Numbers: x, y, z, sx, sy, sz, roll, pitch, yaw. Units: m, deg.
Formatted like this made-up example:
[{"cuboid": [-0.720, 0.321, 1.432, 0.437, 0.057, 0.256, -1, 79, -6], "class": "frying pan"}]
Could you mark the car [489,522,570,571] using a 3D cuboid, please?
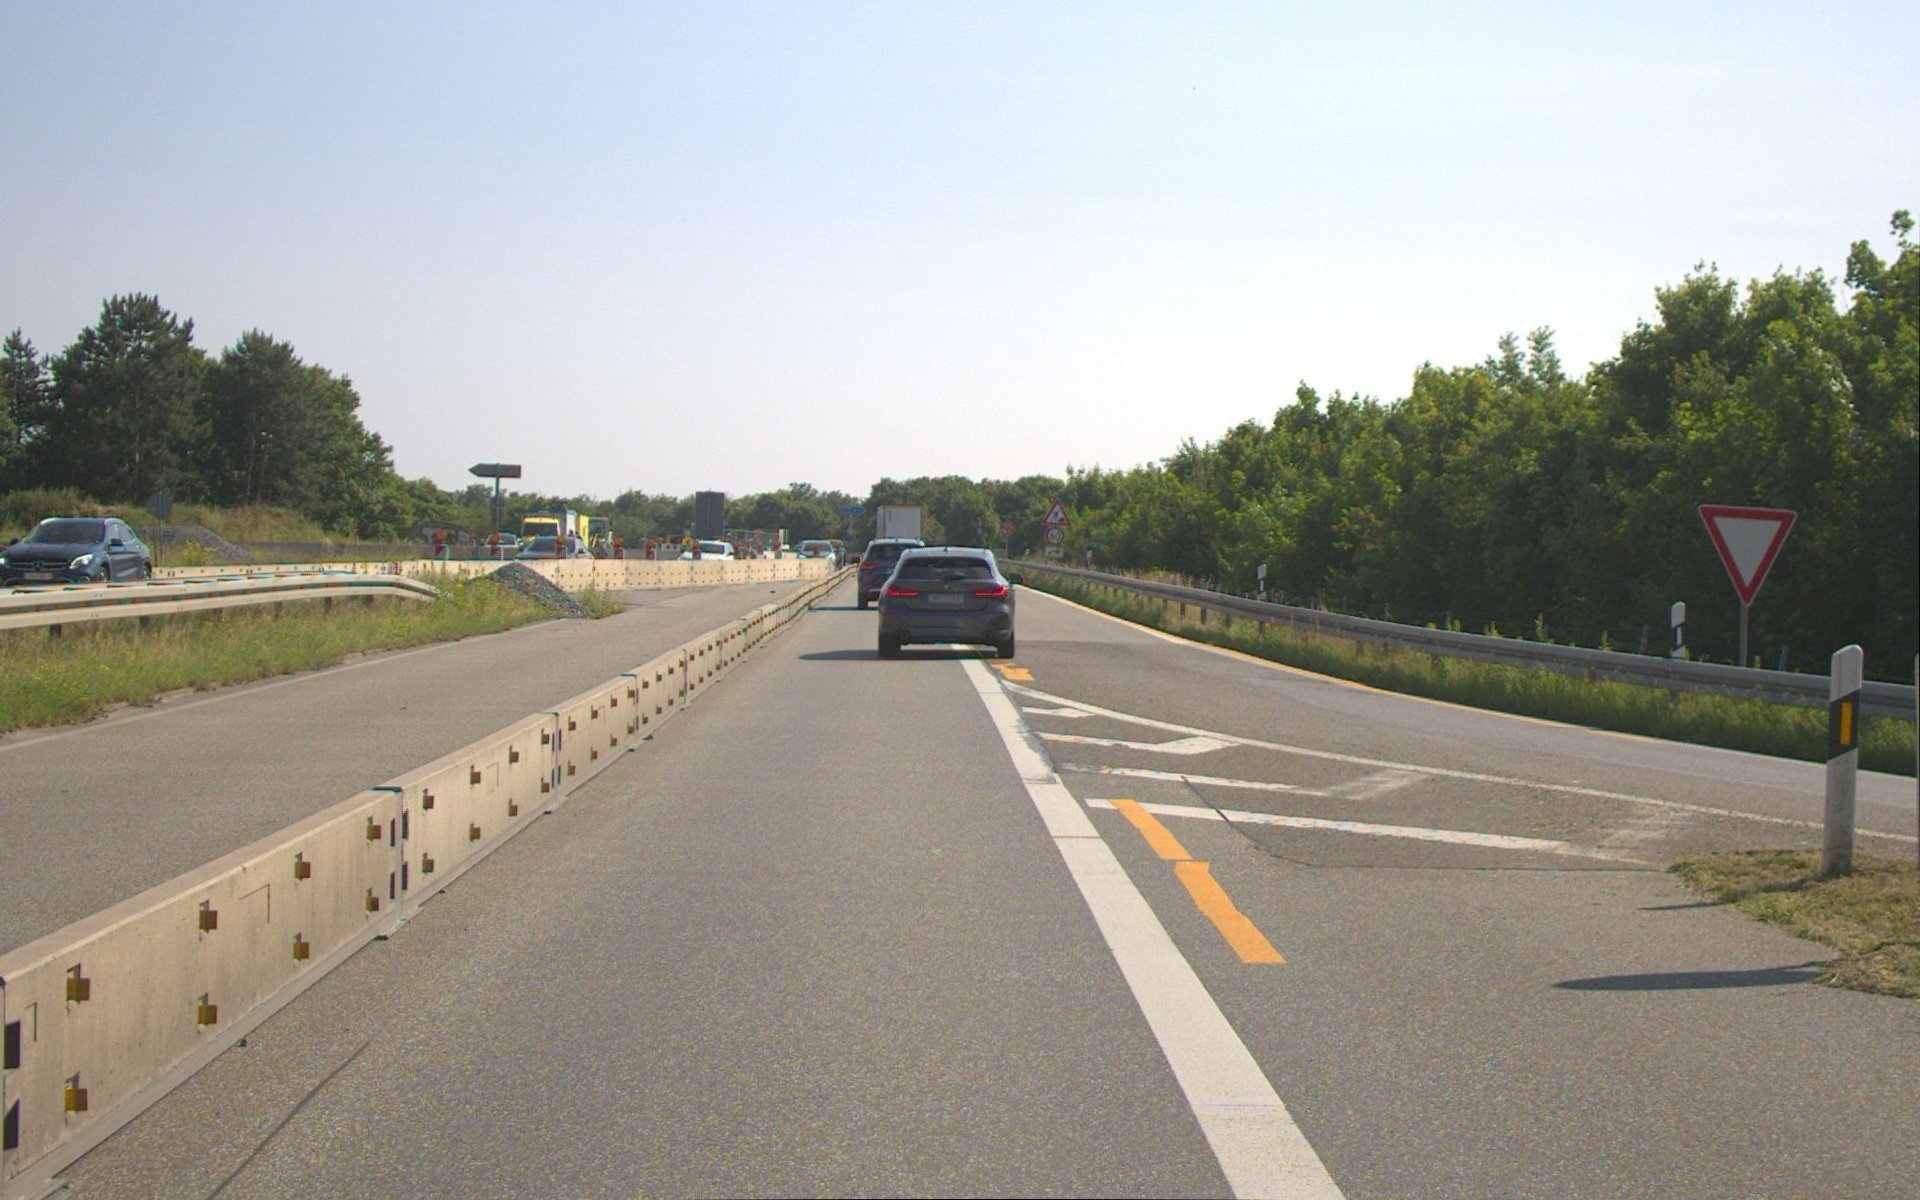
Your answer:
[{"cuboid": [-12.871, -1.625, 103.028, 1.839, 1.435, 4.813, 0, 1, 0], "class": "car"}]

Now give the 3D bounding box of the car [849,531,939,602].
[{"cuboid": [-1.484, -0.781, 78.764, 1.993, 1.561, 4.000, 1, 1, 0], "class": "car"}]

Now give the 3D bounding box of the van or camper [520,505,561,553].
[{"cuboid": [-21.367, -3.624, 175.238, 1.993, 2.369, 6.203, -1, 1, -7], "class": "van or camper"}]

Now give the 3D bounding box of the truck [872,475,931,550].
[{"cuboid": [-4.121, -5.986, 237.078, 3.761, 4.894, 14.138, 2, 1, -2], "class": "truck"}]

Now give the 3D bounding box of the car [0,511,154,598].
[{"cuboid": [-15.626, -0.820, 60.497, 1.797, 1.429, 4.592, 1, 1, 0], "class": "car"}]

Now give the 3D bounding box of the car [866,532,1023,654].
[{"cuboid": [-0.257, -0.131, 45.864, 1.920, 1.488, 4.001, 2, 1, -2], "class": "car"}]
